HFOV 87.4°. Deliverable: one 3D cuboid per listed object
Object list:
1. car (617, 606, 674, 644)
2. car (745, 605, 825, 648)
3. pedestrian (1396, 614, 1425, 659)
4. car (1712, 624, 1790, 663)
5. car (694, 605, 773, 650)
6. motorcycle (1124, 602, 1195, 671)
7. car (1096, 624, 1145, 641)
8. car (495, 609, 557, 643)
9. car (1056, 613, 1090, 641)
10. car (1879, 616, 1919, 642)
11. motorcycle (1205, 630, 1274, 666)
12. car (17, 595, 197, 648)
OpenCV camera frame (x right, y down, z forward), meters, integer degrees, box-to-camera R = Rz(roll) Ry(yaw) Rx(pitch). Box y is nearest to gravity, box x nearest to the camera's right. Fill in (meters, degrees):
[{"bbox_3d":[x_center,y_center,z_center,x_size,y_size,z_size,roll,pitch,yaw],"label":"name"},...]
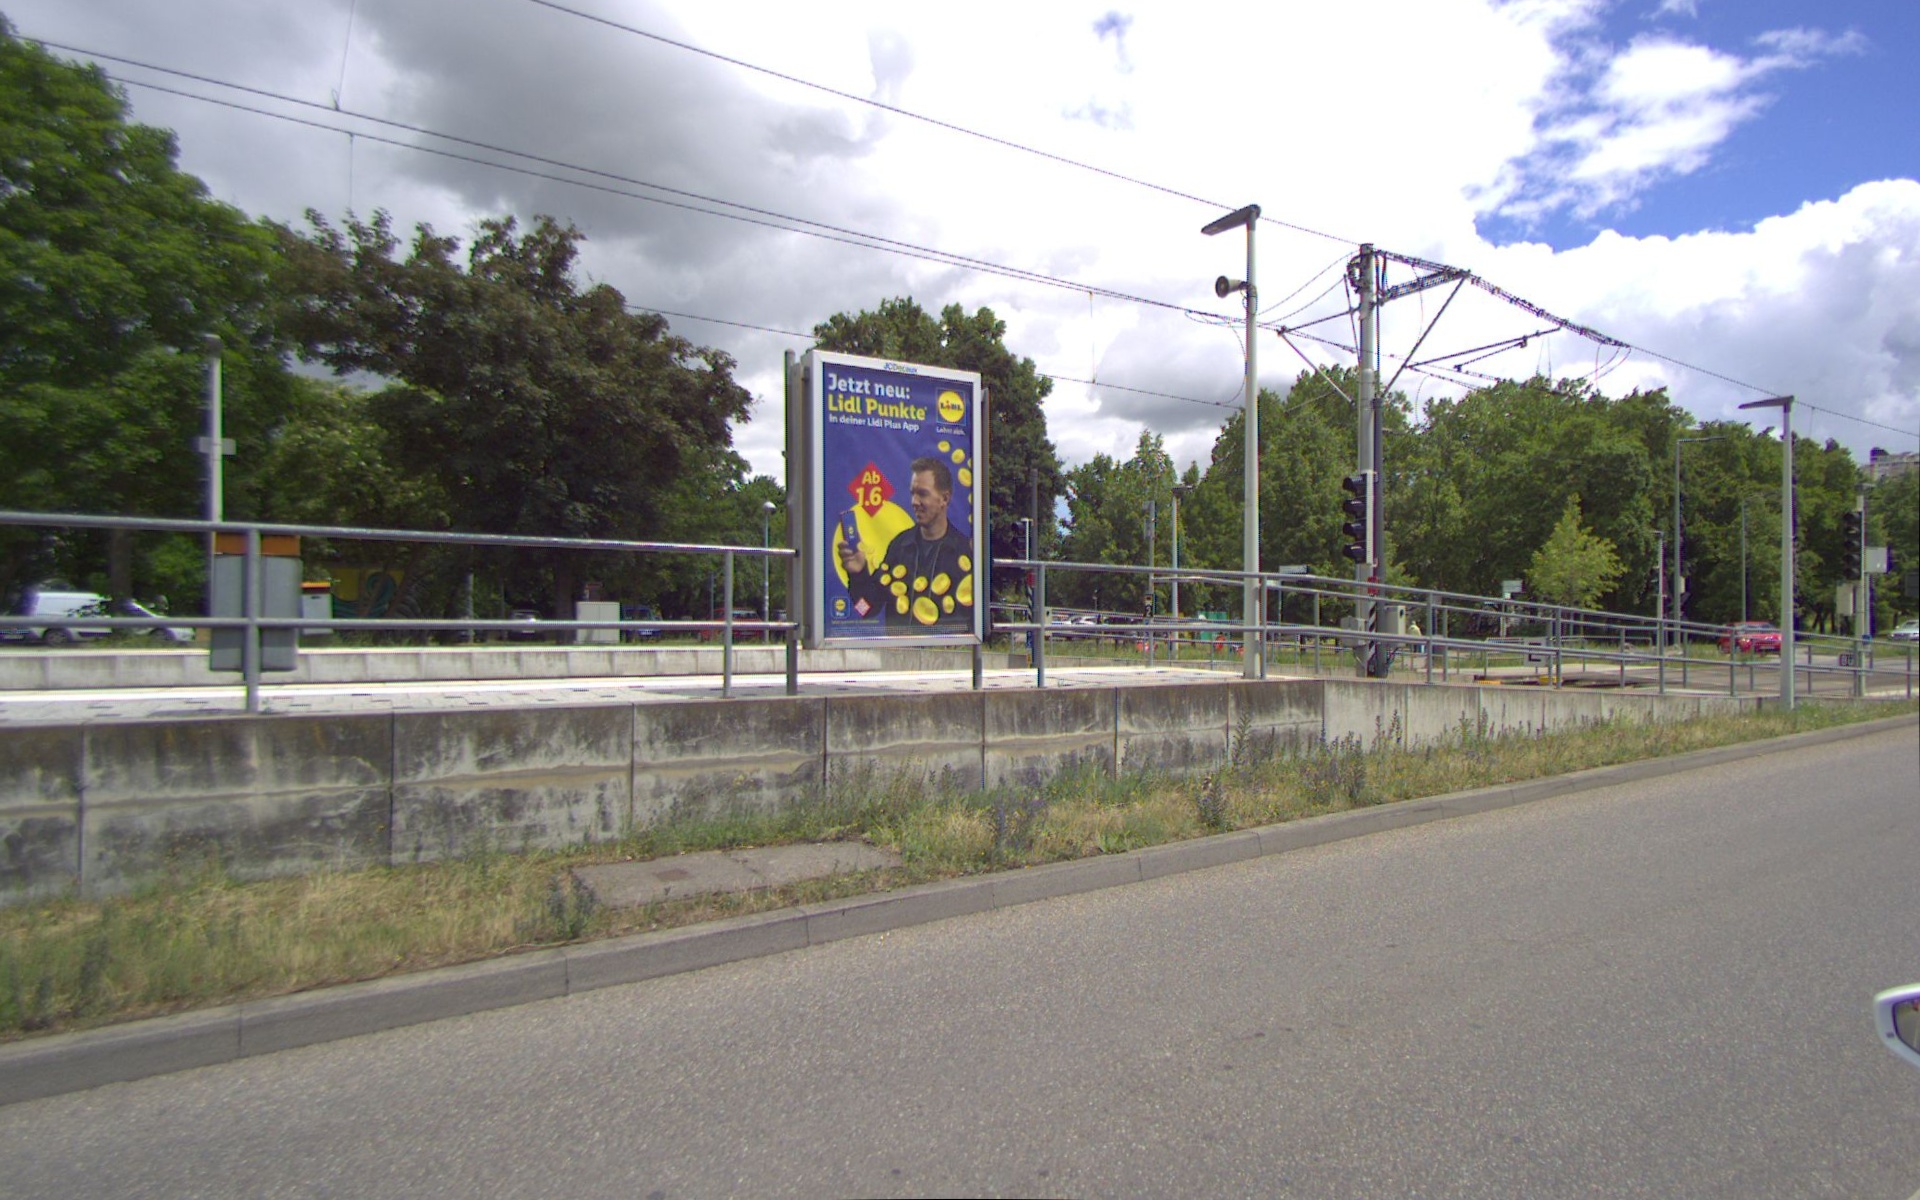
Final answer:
[{"bbox_3d":[-15.511,1.188,49.473,2.161,1.751,3.974,0,0,-26],"label":"car"},{"bbox_3d":[-7.377,1.067,42.006,1.953,1.706,3.965,0,0,-32],"label":"car"},{"bbox_3d":[20.739,1.675,46.263,0.808,2.040,0.961,0,0,-13],"label":"pedestrian"},{"bbox_3d":[33.131,1.777,42.171,1.691,1.523,2.967,0,-1,19],"label":"car"},{"bbox_3d":[-9.179,1.062,40.596,2.030,1.728,3.616,0,0,-32],"label":"car"},{"bbox_3d":[6.051,1.103,30.472,1.951,2.040,0.833,1,-1,-19],"label":"motorcycle"},{"bbox_3d":[10.896,2.180,68.307,3.044,1.096,1.416,0,0,0],"label":"car"},{"bbox_3d":[-20.615,1.200,47.659,1.950,1.511,3.795,0,0,-35],"label":"car"},{"bbox_3d":[7.103,1.684,63.467,1.960,1.660,4.141,0,0,5],"label":"car"},{"bbox_3d":[53.030,1.622,56.177,3.797,1.368,1.862,0,-1,-38],"label":"car"},{"bbox_3d":[8.921,1.523,32.055,2.185,1.095,0.727,1,-1,-25],"label":"motorcycle"},{"bbox_3d":[-28.768,0.681,34.078,4.354,1.701,1.933,0,0,-30],"label":"car"}]
